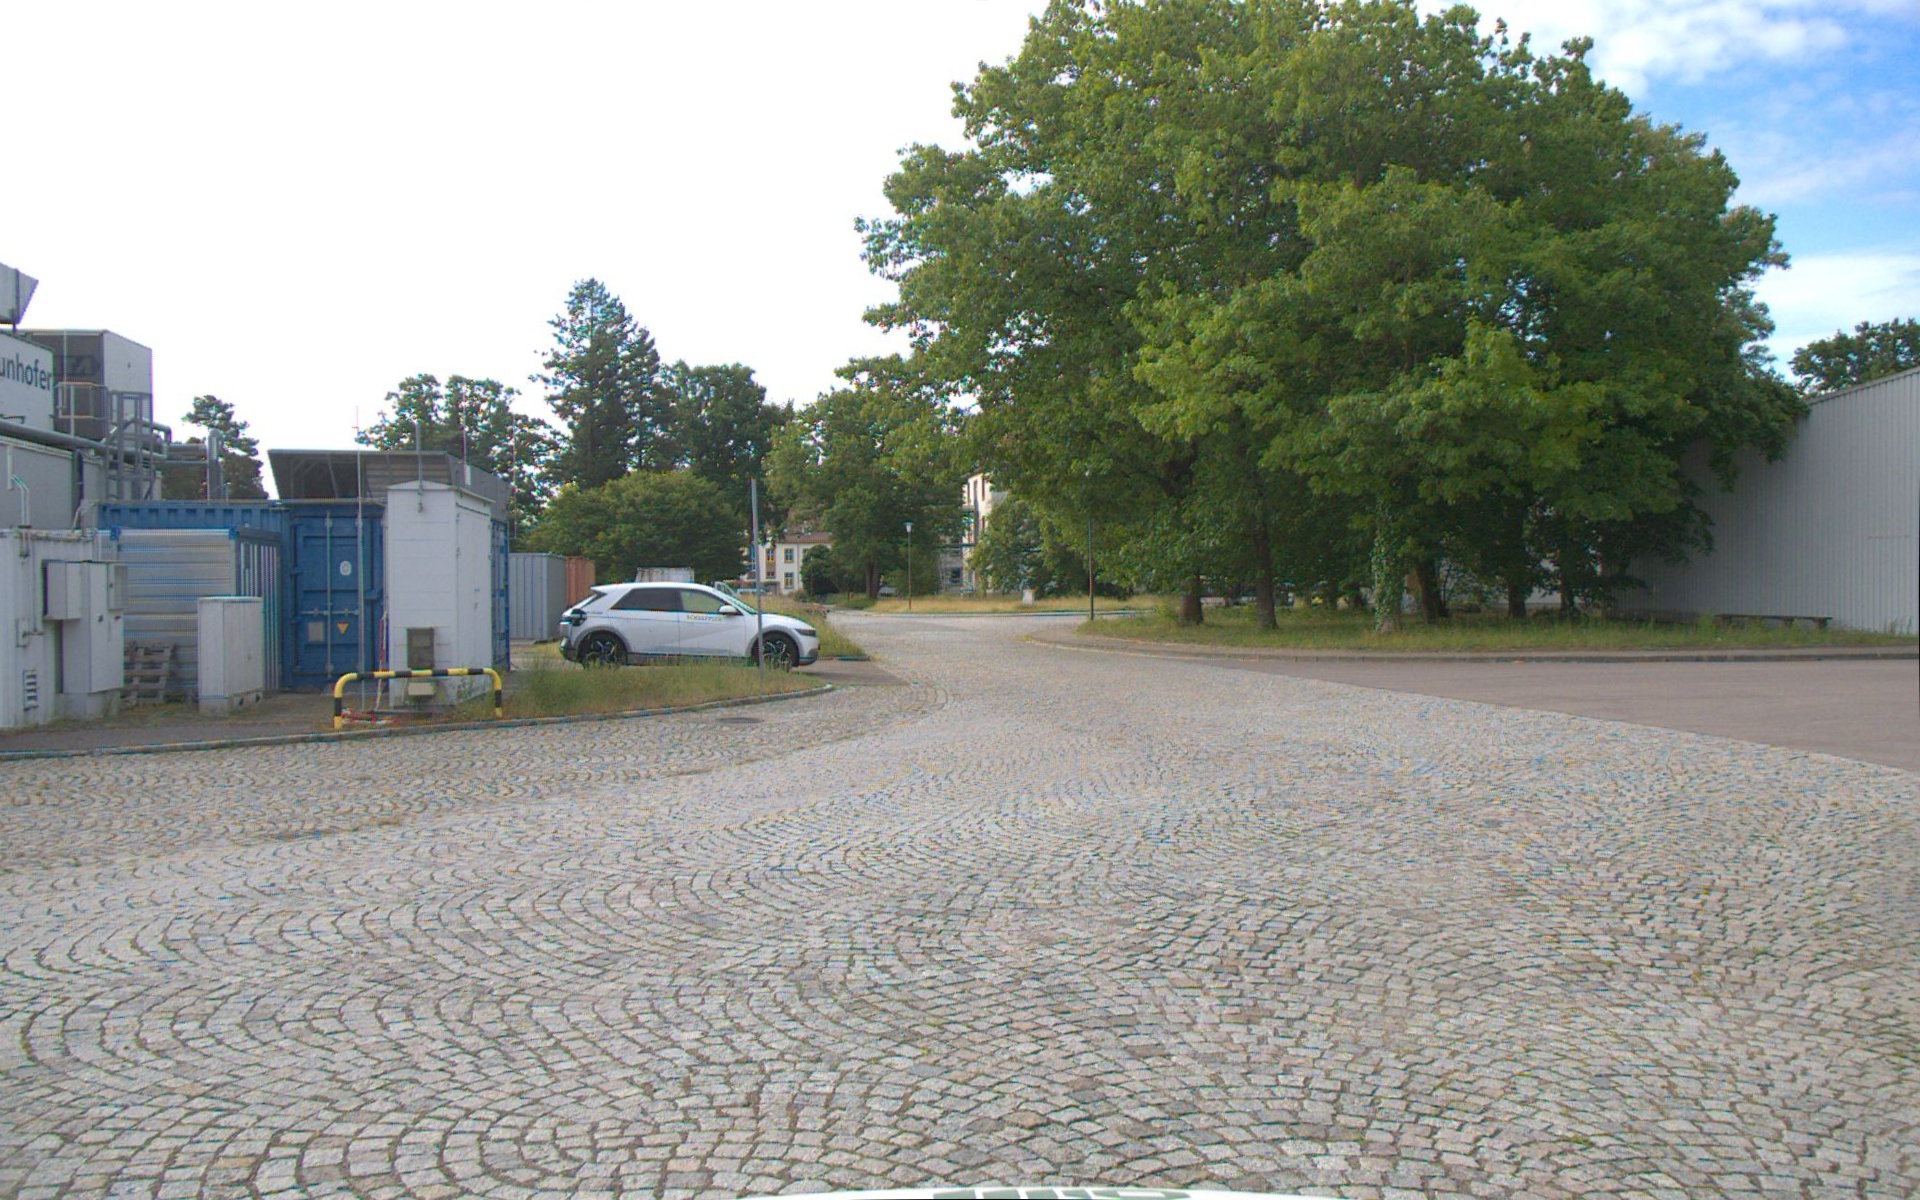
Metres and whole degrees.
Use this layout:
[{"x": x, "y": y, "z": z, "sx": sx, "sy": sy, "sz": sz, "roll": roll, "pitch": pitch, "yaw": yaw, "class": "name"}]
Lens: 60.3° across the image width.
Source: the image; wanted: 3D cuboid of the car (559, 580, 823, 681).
[{"x": -4.682, "y": 0.513, "z": 29.309, "sx": 4.447, "sy": 1.627, "sz": 1.997, "roll": -1, "pitch": 0, "yaw": -6, "class": "car"}]

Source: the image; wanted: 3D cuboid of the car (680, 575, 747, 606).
[{"x": -19.309, "y": -0.738, "z": 129.646, "sx": 5.075, "sy": 2.378, "sz": 1.996, "roll": -1, "pitch": 0, "yaw": -9, "class": "car"}]
